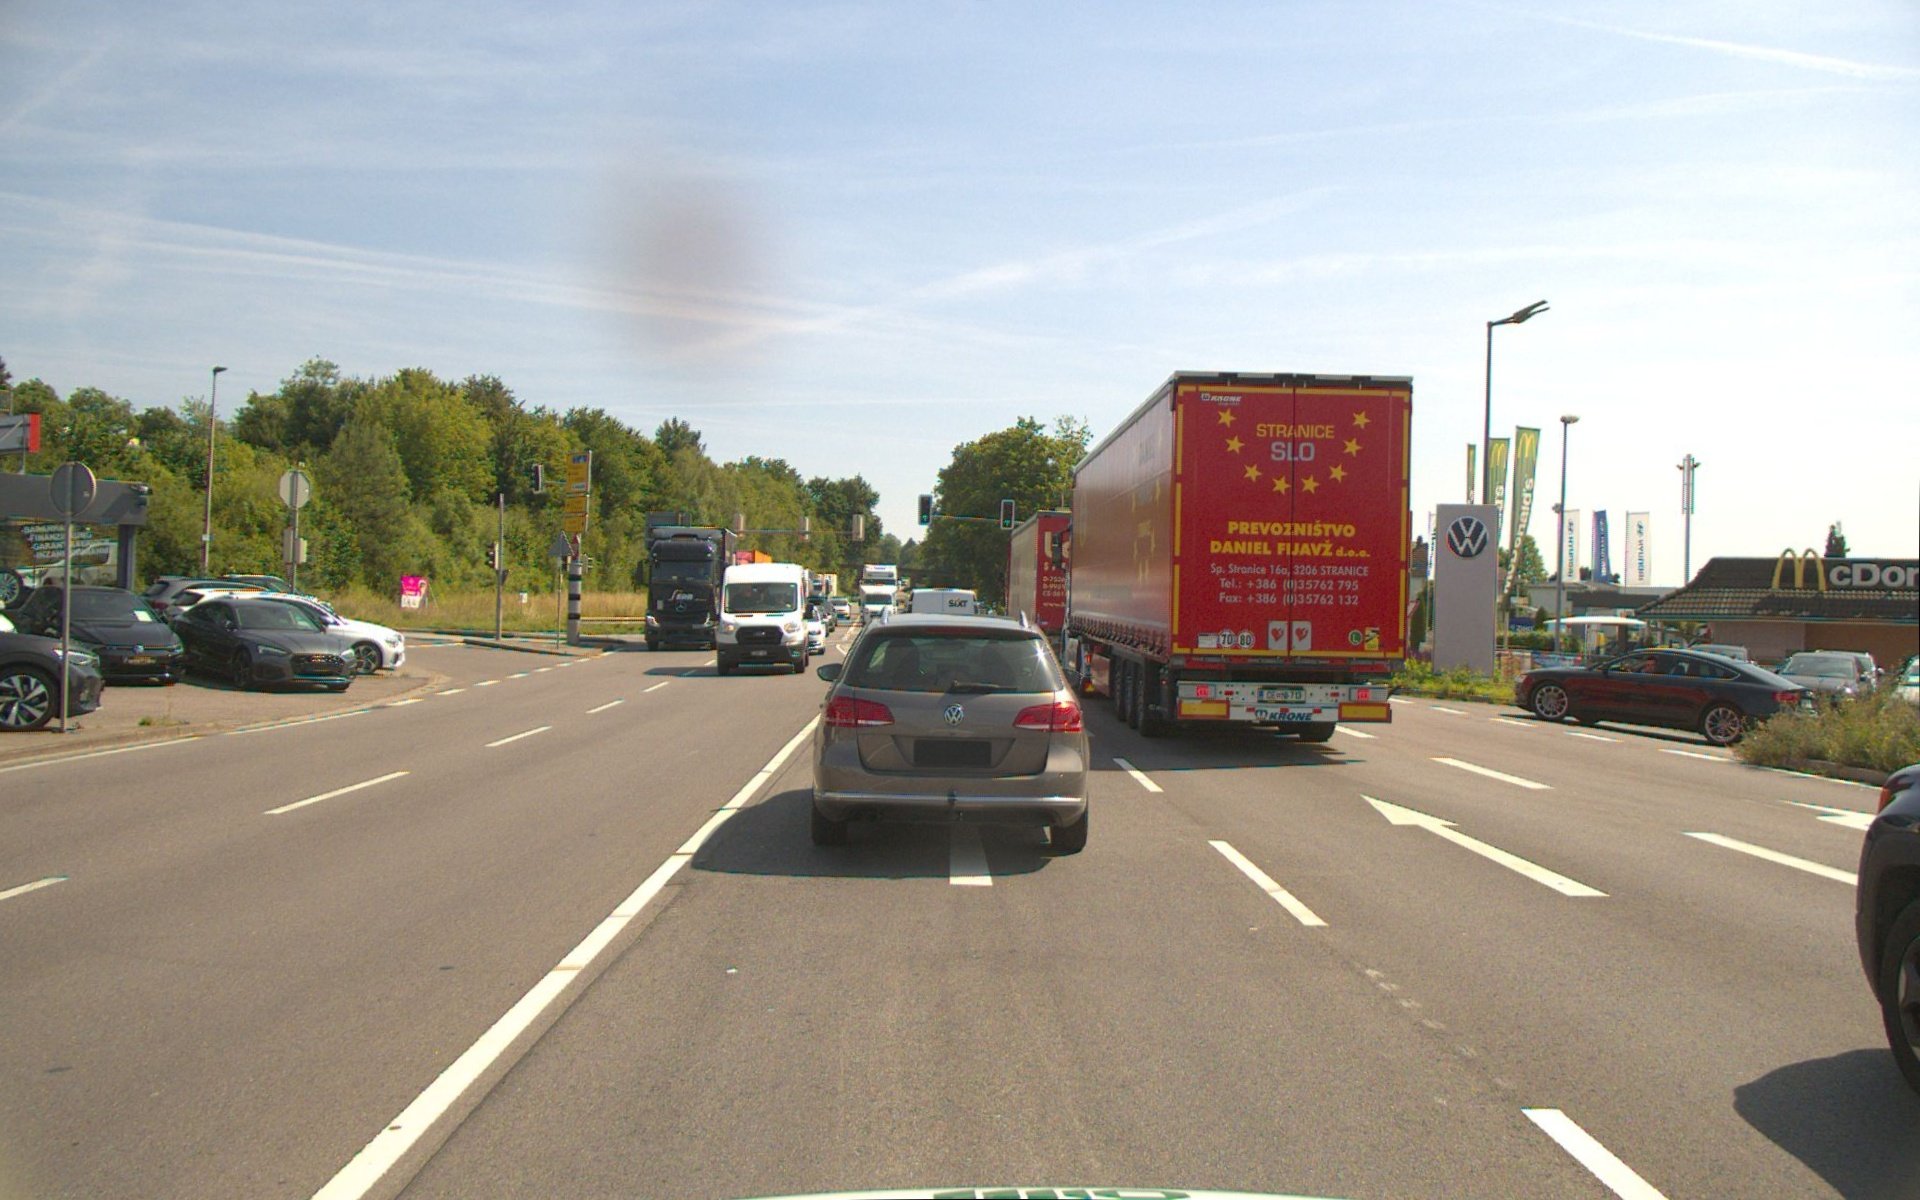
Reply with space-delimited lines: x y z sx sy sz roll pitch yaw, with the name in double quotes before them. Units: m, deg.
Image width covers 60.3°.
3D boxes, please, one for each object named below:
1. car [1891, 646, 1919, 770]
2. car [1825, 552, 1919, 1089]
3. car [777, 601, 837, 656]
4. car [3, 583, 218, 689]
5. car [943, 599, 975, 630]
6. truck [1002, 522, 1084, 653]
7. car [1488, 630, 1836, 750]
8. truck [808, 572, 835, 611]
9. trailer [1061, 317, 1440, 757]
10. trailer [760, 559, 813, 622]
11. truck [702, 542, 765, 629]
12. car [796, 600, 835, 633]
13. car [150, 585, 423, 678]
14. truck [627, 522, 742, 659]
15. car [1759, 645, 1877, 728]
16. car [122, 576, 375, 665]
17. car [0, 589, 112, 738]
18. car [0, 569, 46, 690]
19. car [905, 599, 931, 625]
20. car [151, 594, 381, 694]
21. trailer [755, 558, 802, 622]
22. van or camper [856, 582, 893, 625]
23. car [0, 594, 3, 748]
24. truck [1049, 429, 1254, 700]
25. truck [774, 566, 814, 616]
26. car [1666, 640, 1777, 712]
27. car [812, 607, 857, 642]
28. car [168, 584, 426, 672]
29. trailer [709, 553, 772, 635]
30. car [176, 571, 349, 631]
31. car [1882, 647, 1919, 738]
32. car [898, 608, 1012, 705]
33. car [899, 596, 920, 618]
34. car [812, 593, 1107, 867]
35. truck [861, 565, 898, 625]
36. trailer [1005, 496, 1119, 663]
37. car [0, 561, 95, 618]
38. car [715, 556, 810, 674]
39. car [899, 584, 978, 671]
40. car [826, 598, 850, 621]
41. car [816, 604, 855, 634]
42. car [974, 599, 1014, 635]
"car" 14.566 1.523 21.466 1.749 1.683 4.042 3 -1 -26
"car" 3.907 0.696 3.765 1.734 1.683 3.999 1 0 -1
"car" -4.648 0.835 50.675 1.620 1.583 3.998 -1 0 -2
"car" -14.308 0.569 27.762 4.268 1.512 1.788 3 0 42
"car" -0.102 0.979 113.049 1.954 2.049 3.997 1 0 -3
"truck" 2.737 -0.384 55.962 2.357 4.200 5.519 1 0 -1
"car" 11.215 1.415 26.648 4.737 1.355 1.952 5 -2 44
"truck" -15.059 -0.884 180.082 2.675 4.069 9.613 1 0 -3
"trailer" 3.430 -0.623 23.762 2.782 4.441 13.164 3 0 -1
"trailer" -12.451 -0.618 119.854 2.637 4.220 13.875 1 0 -1
"truck" -11.062 -0.679 81.227 2.667 4.068 6.051 1 0 -5
"car" -7.562 0.856 86.700 1.870 1.630 4.586 -1 0 -3
"car" -13.278 0.636 32.710 4.661 1.501 1.870 5 -2 -35
"truck" -8.910 -0.275 54.470 2.657 4.068 9.968 1 0 -4
"car" 18.245 1.778 35.091 1.740 1.559 4.076 0 0 34
"car" -15.759 0.480 36.818 4.757 1.654 1.902 5 -3 -43
"car" -11.956 0.685 18.758 4.123 1.651 2.011 1 0 -29
"car" -16.135 0.364 26.099 1.879 1.779 4.397 2 0 -44
"car" -3.349 0.948 131.631 1.954 2.049 3.997 1 0 -3
"car" -12.189 0.730 28.911 4.560 1.461 1.962 3 0 43
"trailer" -12.291 -0.650 112.444 2.591 4.177 6.179 1 0 -1
"van or camper" -5.453 0.235 106.362 2.283 2.646 6.975 1 0 -2
"car" -11.596 0.686 15.563 3.952 1.557 2.031 1 0 -2
"truck" 3.341 -0.578 30.347 2.812 4.355 5.837 3 0 -1
"truck" -14.129 -0.741 141.359 3.124 4.151 6.341 1 0 -3
"car" 18.893 1.835 40.944 1.823 1.604 4.219 0 0 34
"car" -5.561 1.066 73.690 1.676 1.469 4.378 -1 0 0
"car" -14.055 0.622 35.213 4.674 1.539 1.926 5 -2 -42
"trailer" -11.679 -0.300 88.861 2.667 4.068 12.222 1 0 -5
"car" -22.015 0.052 52.335 1.883 1.554 4.604 3 -2 44
"car" 18.119 1.662 30.374 1.713 1.518 4.250 0 0 34
"car" -0.153 0.919 28.558 1.735 1.539 3.997 1 0 -3
"car" -4.883 0.636 158.908 1.954 2.049 3.997 1 0 -3
"car" -0.111 0.750 11.369 1.658 1.539 3.997 1 0 -3
"truck" -5.890 -0.337 119.980 2.487 4.159 6.260 1 0 -4
"trailer" 2.841 -0.504 49.664 2.346 4.317 13.074 1 0 -1
"car" -27.407 -0.364 46.669 1.917 1.444 4.939 0 -3 44
"car" -4.646 0.344 39.595 2.019 2.554 7.106 1 0 -6
"car" -0.570 0.644 40.057 1.735 1.970 3.975 1 0 -3
"car" -9.840 0.743 133.839 1.806 1.763 4.586 3 0 -3
"car" -6.713 1.024 89.681 1.824 1.550 4.587 0 0 -1
"car" 1.947 0.968 95.778 1.954 2.049 3.997 1 0 -3
